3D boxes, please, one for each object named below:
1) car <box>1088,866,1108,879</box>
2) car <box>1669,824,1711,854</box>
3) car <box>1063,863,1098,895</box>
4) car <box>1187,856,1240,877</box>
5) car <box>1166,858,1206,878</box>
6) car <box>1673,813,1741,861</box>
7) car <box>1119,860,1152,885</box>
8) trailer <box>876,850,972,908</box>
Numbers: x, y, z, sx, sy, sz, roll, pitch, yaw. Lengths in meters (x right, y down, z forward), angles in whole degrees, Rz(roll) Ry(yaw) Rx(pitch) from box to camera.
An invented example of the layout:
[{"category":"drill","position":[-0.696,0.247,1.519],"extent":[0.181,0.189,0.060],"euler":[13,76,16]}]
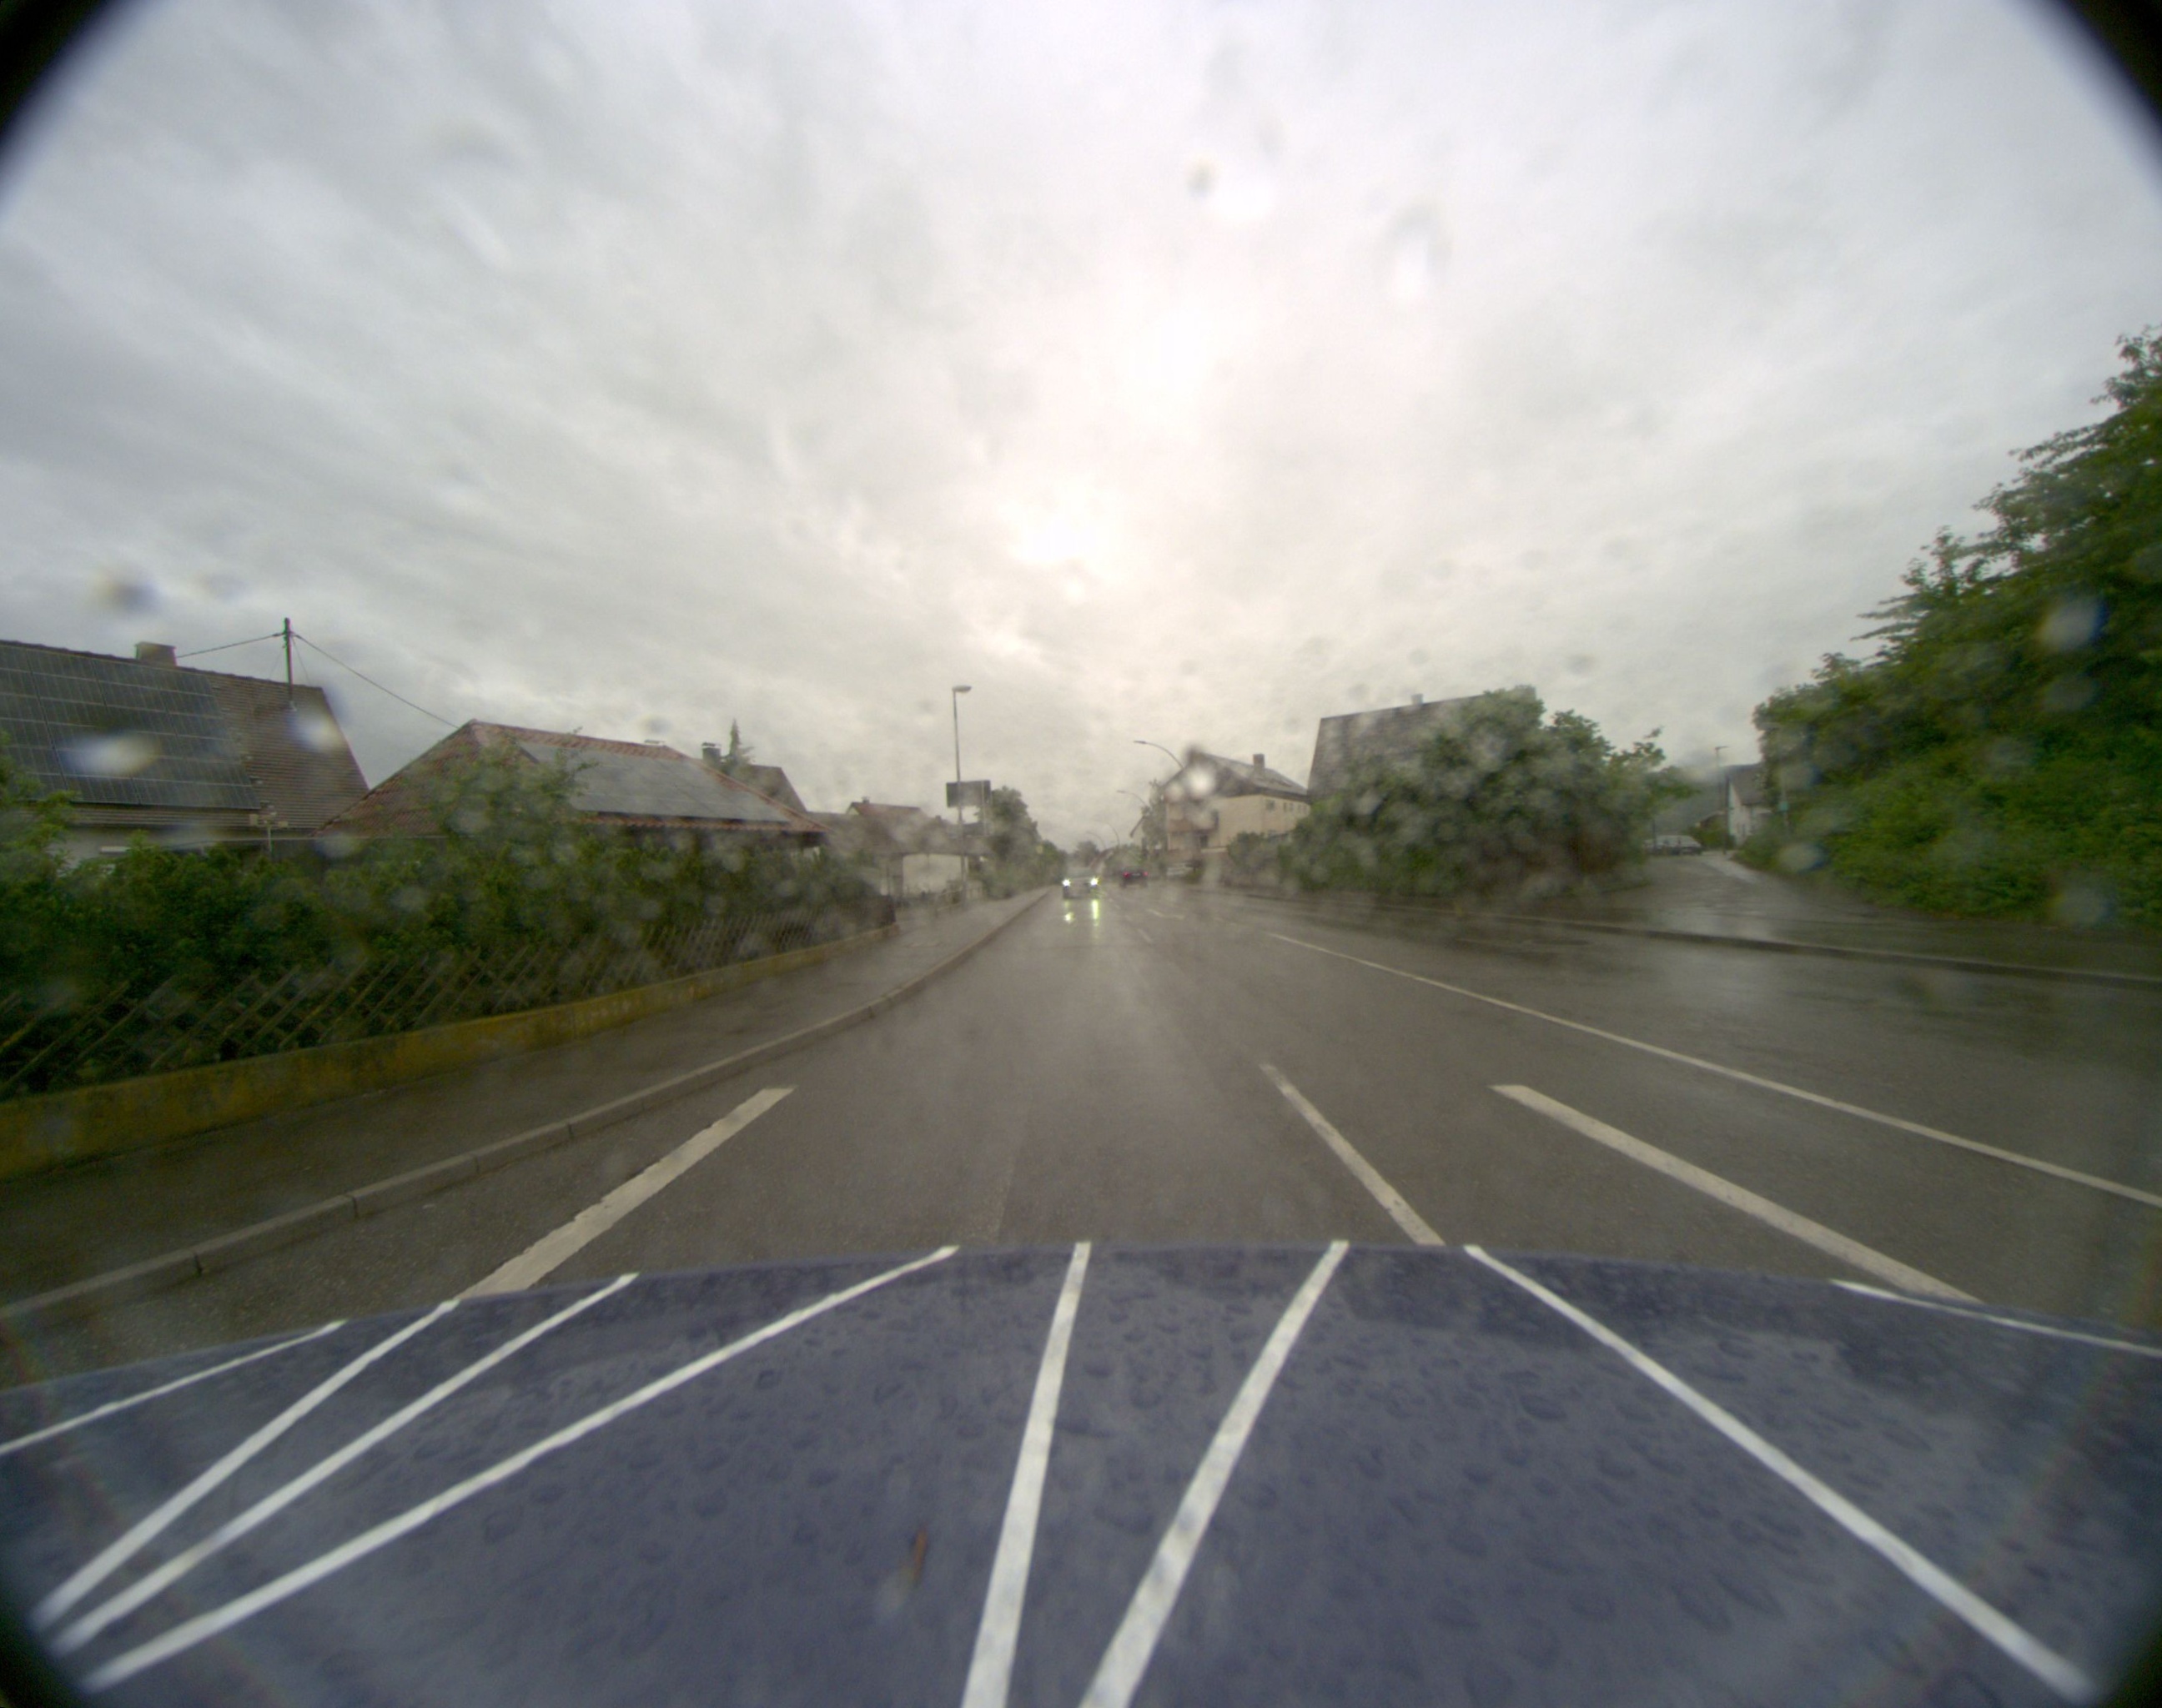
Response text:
[{"category":"car","position":[2.000,2.226,90.598],"extent":[1.999,1.396,4.623],"euler":[-2,0,-2]},{"category":"car","position":[41.288,-1.042,51.508],"extent":[1.995,1.848,4.008],"euler":[-3,0,41]},{"category":"car","position":[-0.032,1.289,40.122],"extent":[1.688,1.486,3.939],"euler":[-3,0,0]},{"category":"car","position":[10.500,0.995,60.240],"extent":[3.661,1.510,1.758],"euler":[-3,0,35]},{"category":"car","position":[9.098,1.203,65.772],"extent":[1.864,1.510,4.007],"euler":[-3,0,32]},{"category":"car","position":[23.049,-0.635,27.927],"extent":[1.706,1.579,3.669],"euler":[-2,0,42]},{"category":"car","position":[3.951,1.341,55.512],"extent":[1.998,1.658,4.416],"euler":[-3,0,0]},{"category":"trailer","position":[-7.377,1.131,36.169],"extent":[1.645,2.502,4.712],"euler":[-4,-1,29]}]
